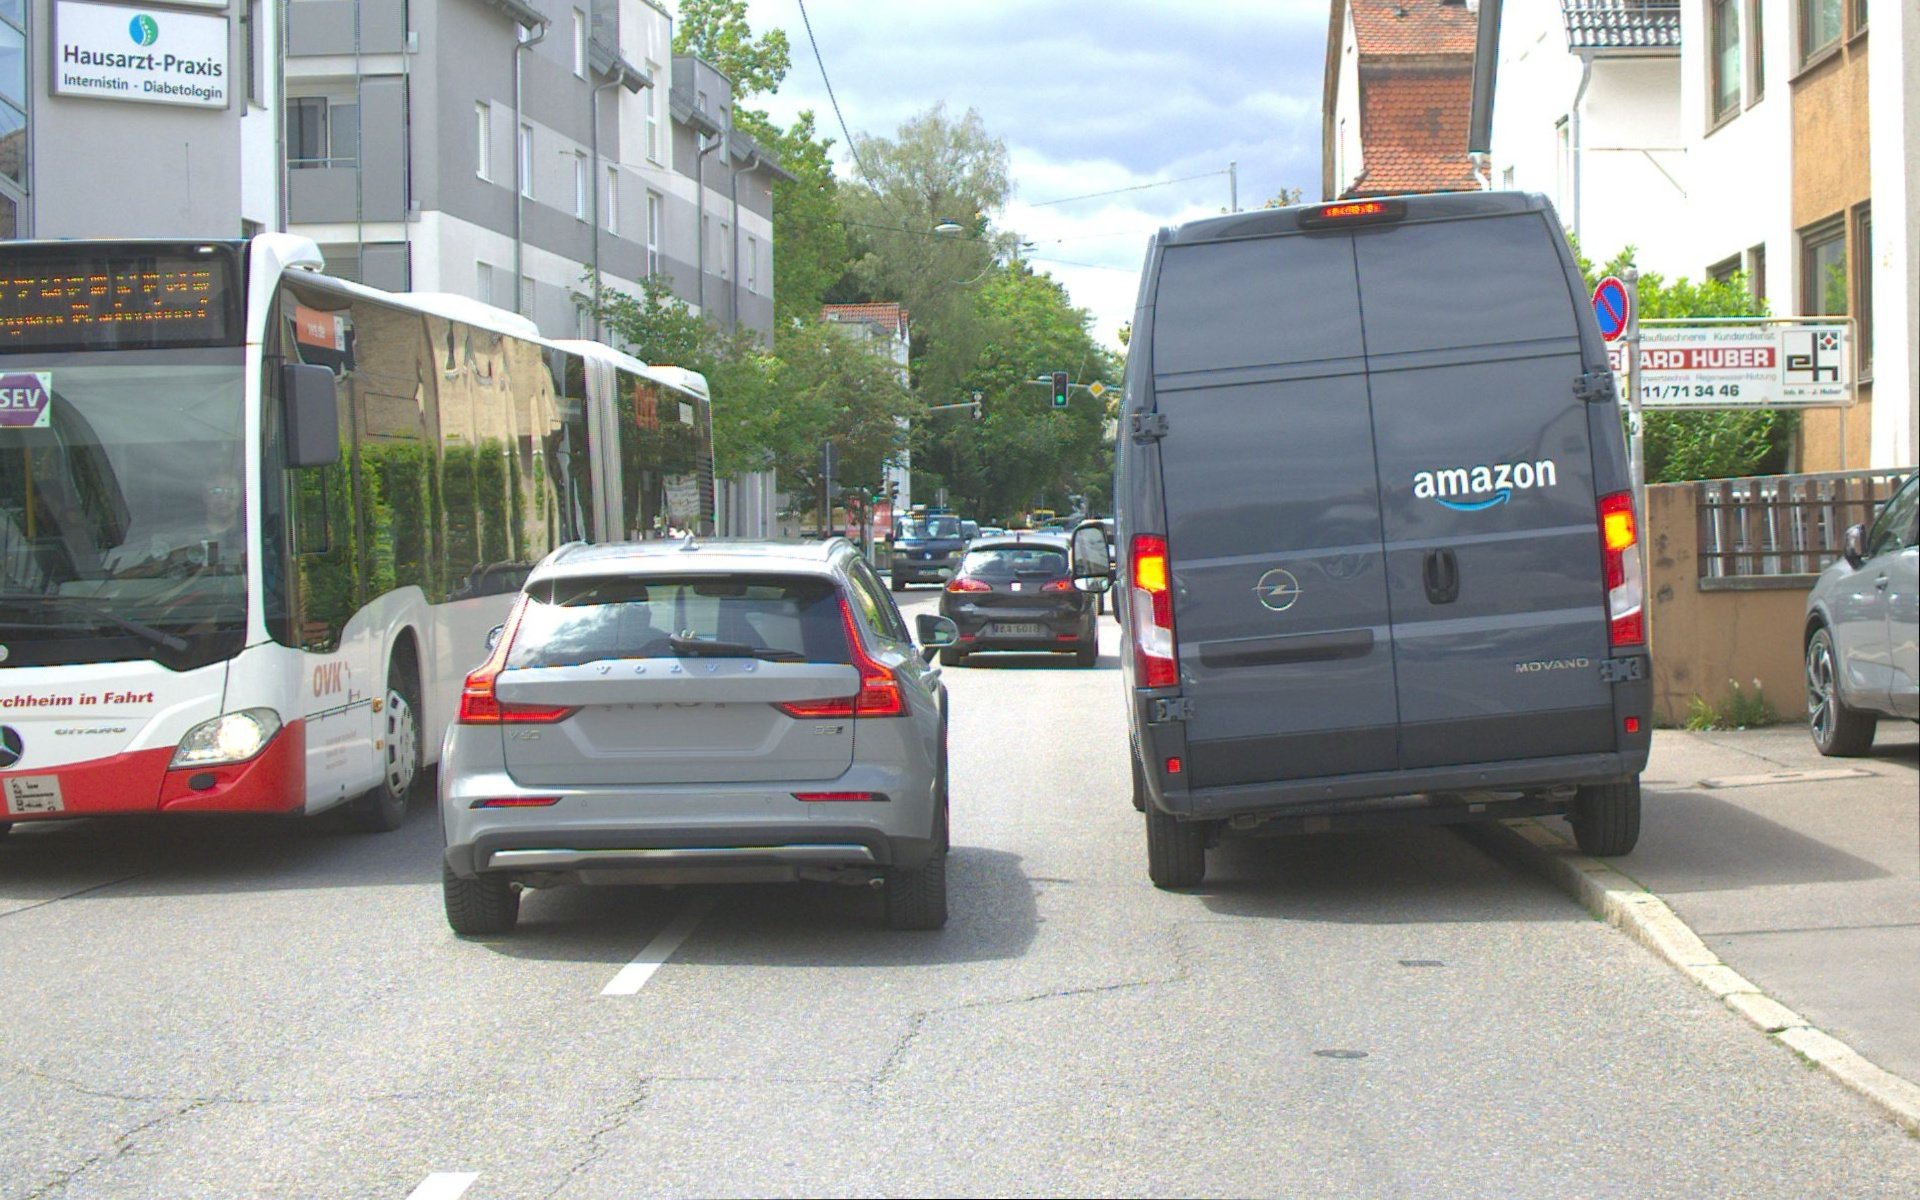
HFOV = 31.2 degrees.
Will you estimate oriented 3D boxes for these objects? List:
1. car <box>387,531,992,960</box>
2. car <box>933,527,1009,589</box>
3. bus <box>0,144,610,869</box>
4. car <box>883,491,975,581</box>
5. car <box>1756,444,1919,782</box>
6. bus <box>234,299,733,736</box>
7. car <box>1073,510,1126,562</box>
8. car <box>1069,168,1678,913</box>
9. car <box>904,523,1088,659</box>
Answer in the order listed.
[{"bbox_3d":[-0.916,0.464,13.809,1.896,1.448,3.968,0,1,3],"label":"car"},{"bbox_3d":[0.340,-1.239,99.045,2.105,1.704,4.765,-1,1,1],"label":"car"},{"bbox_3d":[-4.118,-0.505,20.224,2.682,3.153,10.184,-1,1,2],"label":"bus"},{"bbox_3d":[-0.759,-1.643,87.486,2.105,2.114,4.765,-3,1,1],"label":"car"},{"bbox_3d":[5.483,-0.001,17.390,1.860,1.606,4.586,-2,1,1],"label":"car"},{"bbox_3d":[-3.771,-0.693,29.312,2.716,3.153,8.068,-1,1,3],"label":"bus"},{"bbox_3d":[5.559,-2.555,136.386,1.994,2.007,4.000,-1,1,3],"label":"car"},{"bbox_3d":[1.738,-0.283,15.841,2.253,2.786,5.569,-1,1,4],"label":"car"},{"bbox_3d":[0.464,-0.139,38.944,1.896,1.441,3.968,0,1,3],"label":"car"}]
